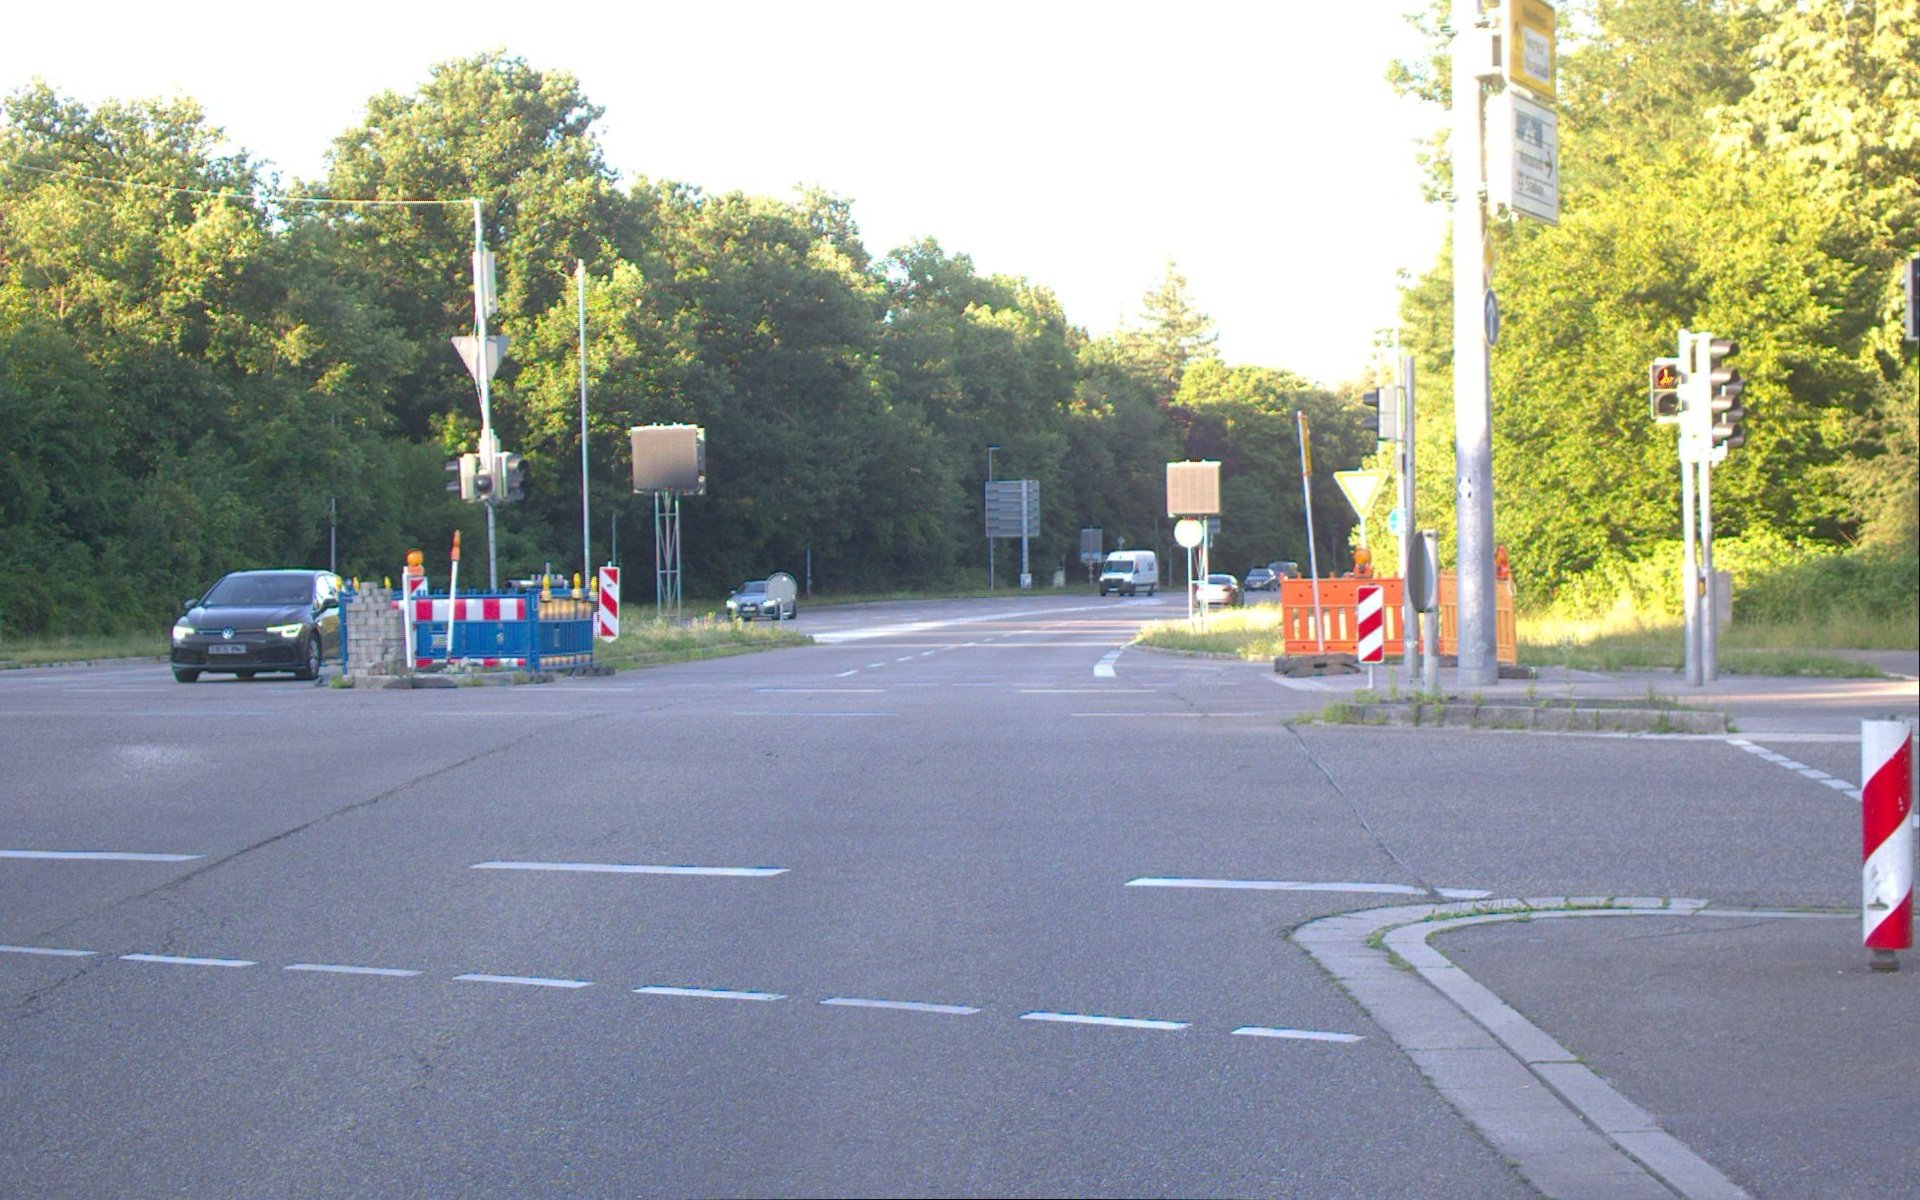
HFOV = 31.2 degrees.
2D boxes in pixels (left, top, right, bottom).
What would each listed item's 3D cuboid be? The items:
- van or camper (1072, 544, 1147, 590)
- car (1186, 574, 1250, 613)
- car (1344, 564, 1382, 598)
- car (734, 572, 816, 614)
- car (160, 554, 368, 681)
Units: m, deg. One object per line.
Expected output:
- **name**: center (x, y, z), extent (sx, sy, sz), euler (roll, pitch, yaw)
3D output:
- **van or camper**: center (8.868, -1.951, 202.704), extent (2.887, 2.643, 7.117), euler (0, 1, 15)
- **car**: center (11.294, -0.304, 150.444), extent (1.995, 1.612, 3.997), euler (0, 1, 16)
- **car**: center (24.772, -1.192, 211.284), extent (1.789, 2.007, 3.998), euler (-1, 1, 14)
- **car**: center (-6.455, -0.257, 120.523), extent (1.994, 1.415, 3.998), euler (-1, 1, 10)
- **car**: center (-8.954, 0.187, 44.596), extent (1.993, 1.524, 4.679), euler (-1, 1, -4)
